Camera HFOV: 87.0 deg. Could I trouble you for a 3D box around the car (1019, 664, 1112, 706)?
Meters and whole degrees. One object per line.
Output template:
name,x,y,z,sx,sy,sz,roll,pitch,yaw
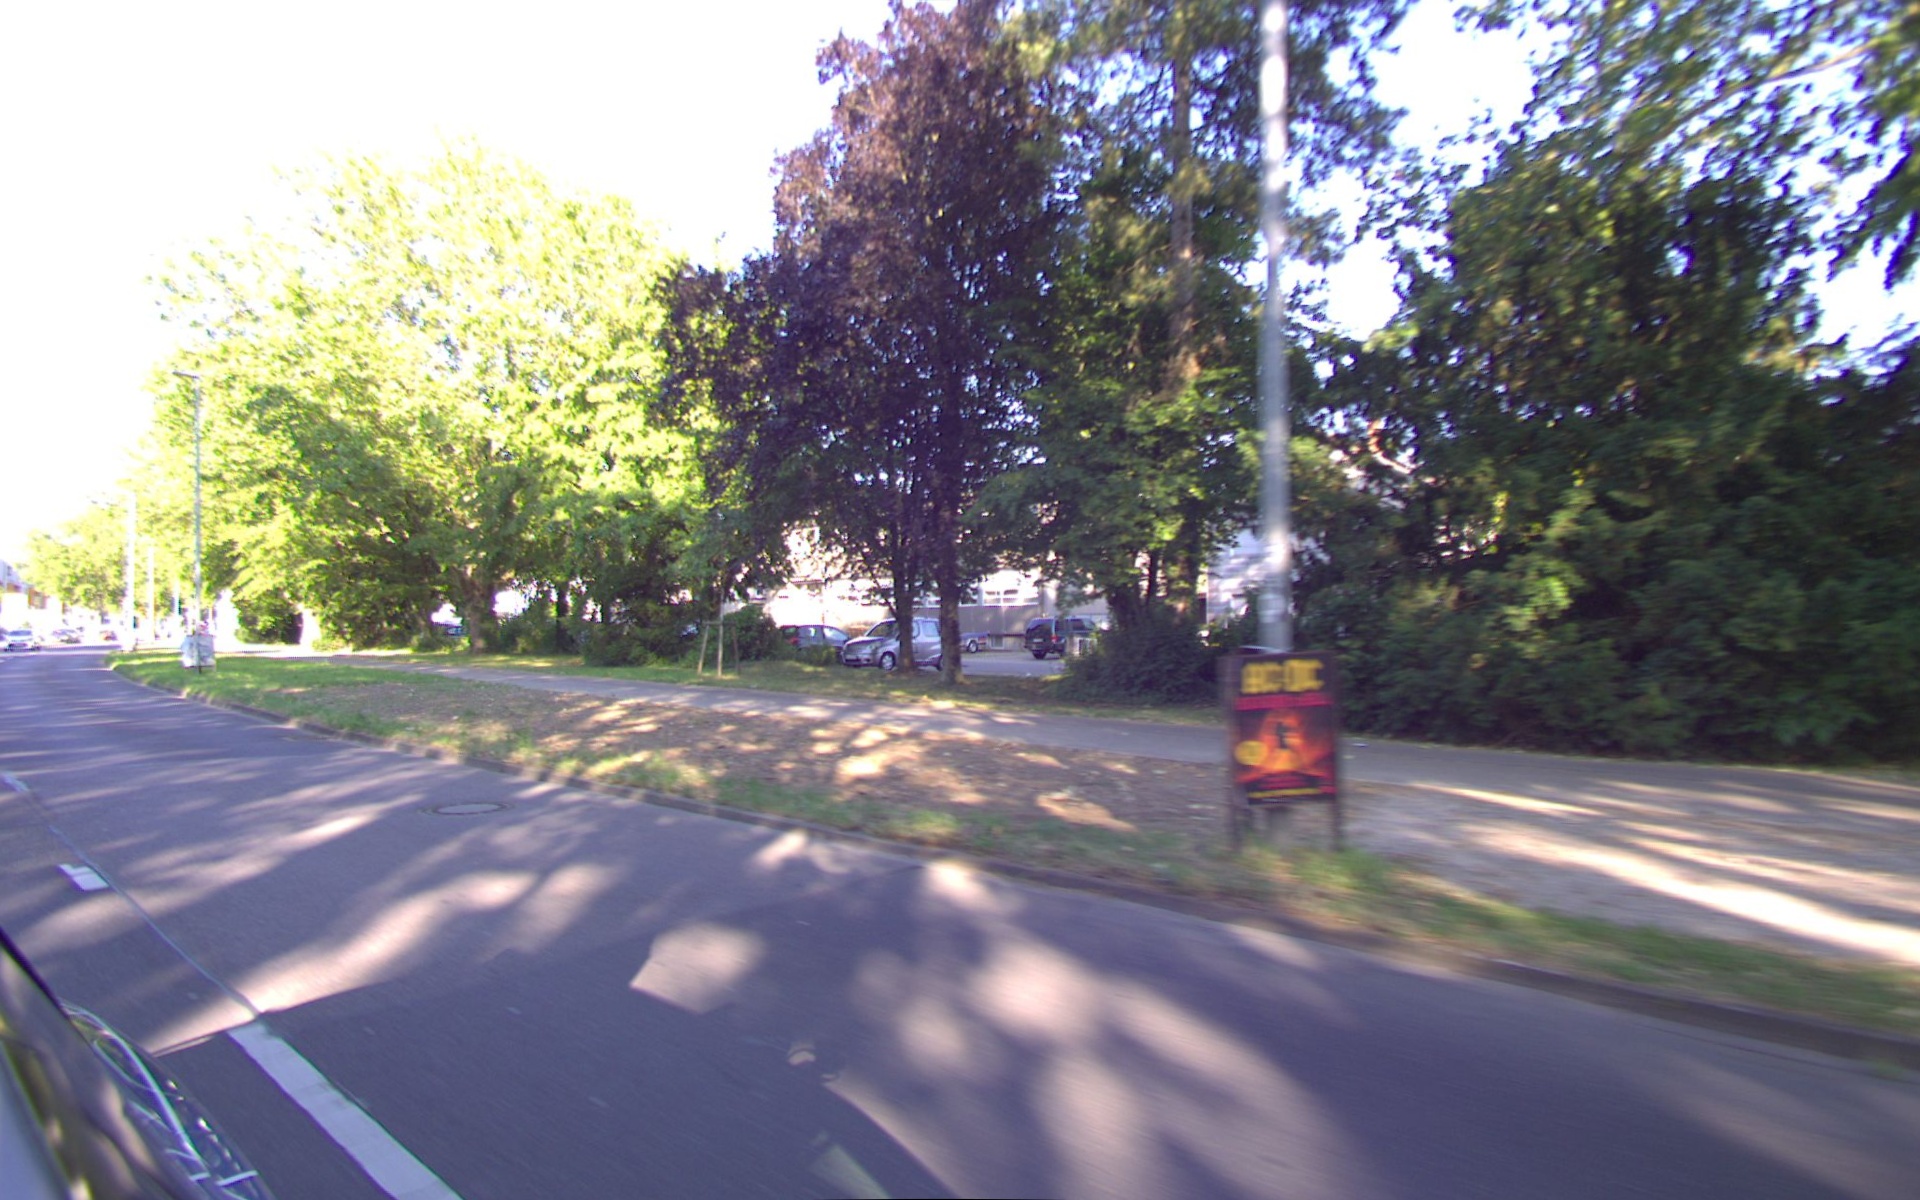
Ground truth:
car,4.469,3.539,42.550,1.929,1.645,3.944,-3,-4,42

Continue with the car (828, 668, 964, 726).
car,-1.901,2.903,30.908,1.929,1.614,3.945,-3,-4,41

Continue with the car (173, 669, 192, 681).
car,-103.695,9.944,134.991,1.737,1.495,4.118,0,-4,-34

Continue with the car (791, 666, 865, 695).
car,-7.542,4.573,57.997,1.929,1.614,3.944,-3,-5,42

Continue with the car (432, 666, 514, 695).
car,-26.886,4.438,55.948,1.766,1.475,3.689,-4,-4,43

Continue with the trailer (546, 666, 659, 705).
trailer,-14.896,3.532,42.283,3.941,1.568,2.001,4,-6,-45

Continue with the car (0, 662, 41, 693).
car,-63.043,5.153,67.719,1.905,2.029,4.007,3,-4,-38

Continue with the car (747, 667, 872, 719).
car,-5.083,3.130,34.523,1.929,1.614,3.945,-3,-4,41

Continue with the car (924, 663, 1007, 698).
car,0.303,3.855,49.148,1.929,1.614,3.944,-3,-4,42

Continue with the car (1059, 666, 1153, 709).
car,5.983,3.511,41.172,1.929,1.614,3.944,-3,-4,42
